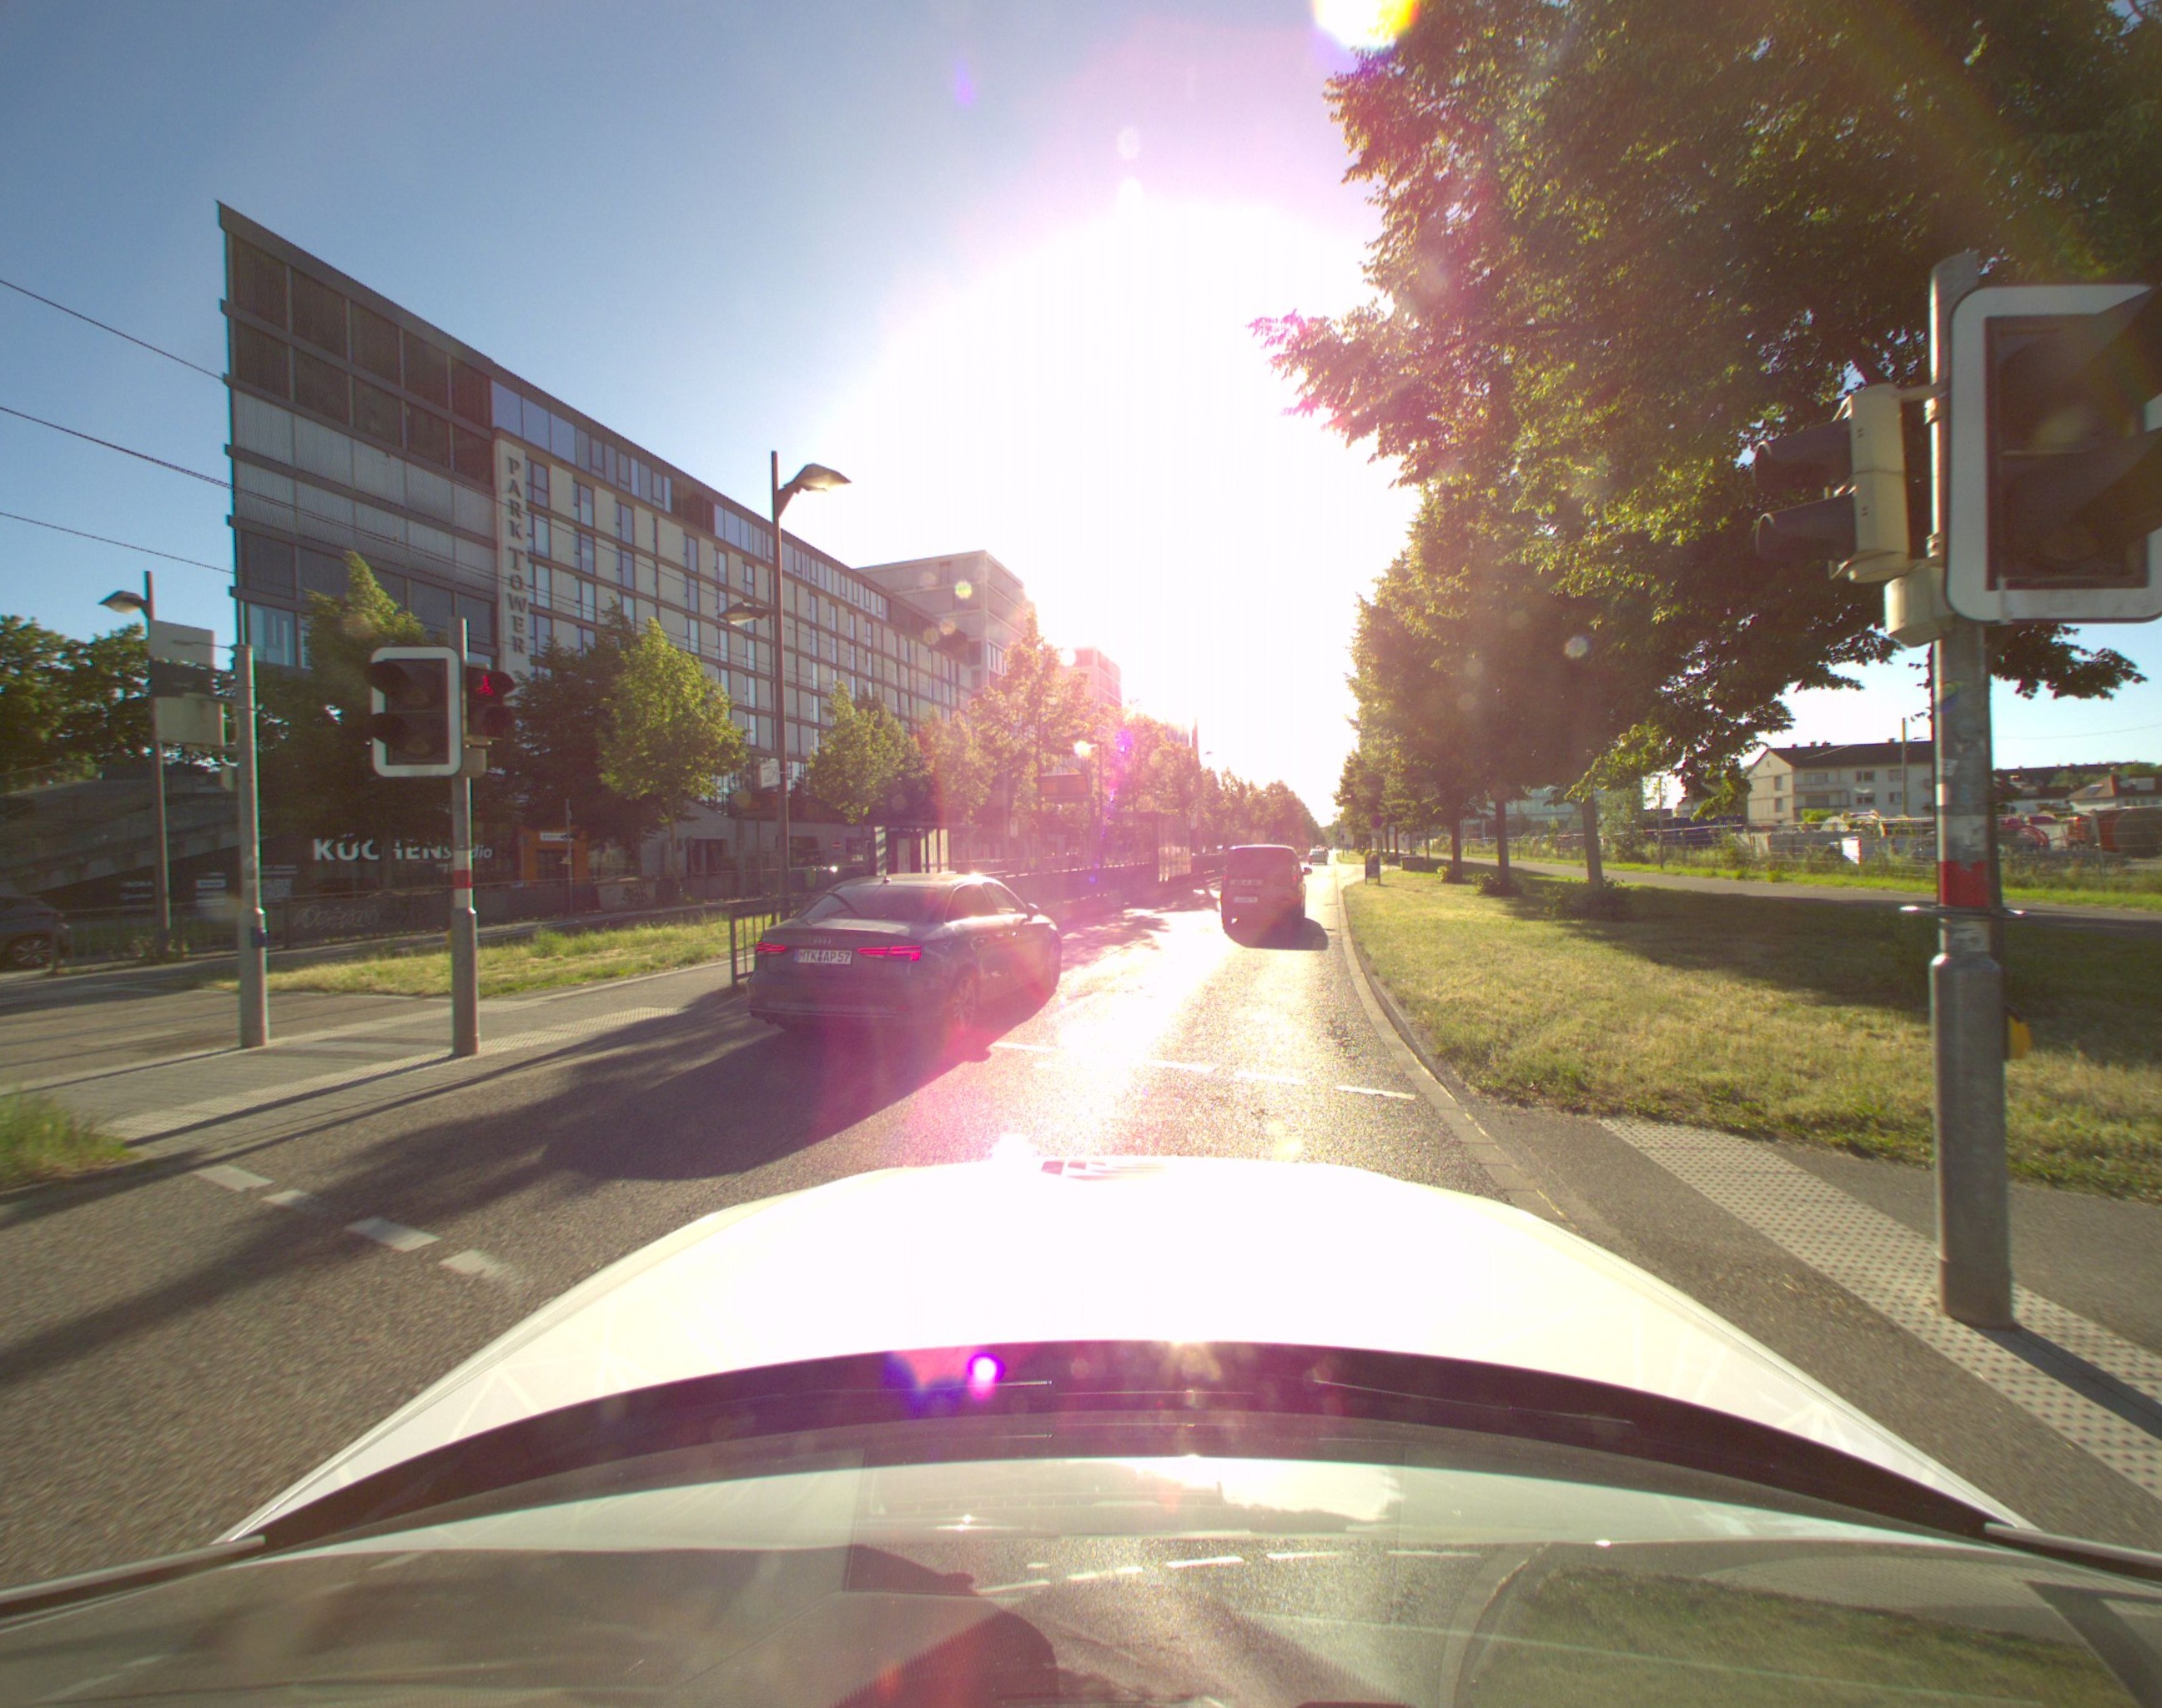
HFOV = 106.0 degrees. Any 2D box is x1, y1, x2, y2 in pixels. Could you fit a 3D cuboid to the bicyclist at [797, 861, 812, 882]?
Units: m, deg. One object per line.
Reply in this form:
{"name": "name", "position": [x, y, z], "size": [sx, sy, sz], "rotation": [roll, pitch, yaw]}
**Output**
{"name": "bicyclist", "position": [-20.597, 1.299, 60.671], "size": [0.714, 1.463, 0.836], "rotation": [-1, 0, 22]}

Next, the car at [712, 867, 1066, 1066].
{"name": "car", "position": [-1.536, 0.860, 8.191], "size": [1.708, 1.366, 4.162], "rotation": [0, 0, 14]}

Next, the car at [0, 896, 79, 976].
{"name": "car", "position": [-20.622, 1.549, 14.182], "size": [1.645, 1.395, 3.631], "rotation": [-3, -1, 21]}

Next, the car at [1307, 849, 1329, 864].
{"name": "car", "position": [22.597, 0.261, 77.636], "size": [1.928, 1.347, 4.016], "rotation": [-2, 0, 15]}

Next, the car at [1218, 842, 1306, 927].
{"name": "car", "position": [4.353, 0.668, 19.181], "size": [1.784, 1.777, 4.016], "rotation": [-1, -1, 15]}

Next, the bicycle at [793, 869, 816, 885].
{"name": "bicycle", "position": [-20.610, 1.721, 60.641], "size": [0.726, 1.120, 1.579], "rotation": [-1, 1, 23]}

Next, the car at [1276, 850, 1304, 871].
{"name": "car", "position": [15.655, 0.459, 61.003], "size": [1.928, 1.441, 4.016], "rotation": [-2, 0, 15]}
